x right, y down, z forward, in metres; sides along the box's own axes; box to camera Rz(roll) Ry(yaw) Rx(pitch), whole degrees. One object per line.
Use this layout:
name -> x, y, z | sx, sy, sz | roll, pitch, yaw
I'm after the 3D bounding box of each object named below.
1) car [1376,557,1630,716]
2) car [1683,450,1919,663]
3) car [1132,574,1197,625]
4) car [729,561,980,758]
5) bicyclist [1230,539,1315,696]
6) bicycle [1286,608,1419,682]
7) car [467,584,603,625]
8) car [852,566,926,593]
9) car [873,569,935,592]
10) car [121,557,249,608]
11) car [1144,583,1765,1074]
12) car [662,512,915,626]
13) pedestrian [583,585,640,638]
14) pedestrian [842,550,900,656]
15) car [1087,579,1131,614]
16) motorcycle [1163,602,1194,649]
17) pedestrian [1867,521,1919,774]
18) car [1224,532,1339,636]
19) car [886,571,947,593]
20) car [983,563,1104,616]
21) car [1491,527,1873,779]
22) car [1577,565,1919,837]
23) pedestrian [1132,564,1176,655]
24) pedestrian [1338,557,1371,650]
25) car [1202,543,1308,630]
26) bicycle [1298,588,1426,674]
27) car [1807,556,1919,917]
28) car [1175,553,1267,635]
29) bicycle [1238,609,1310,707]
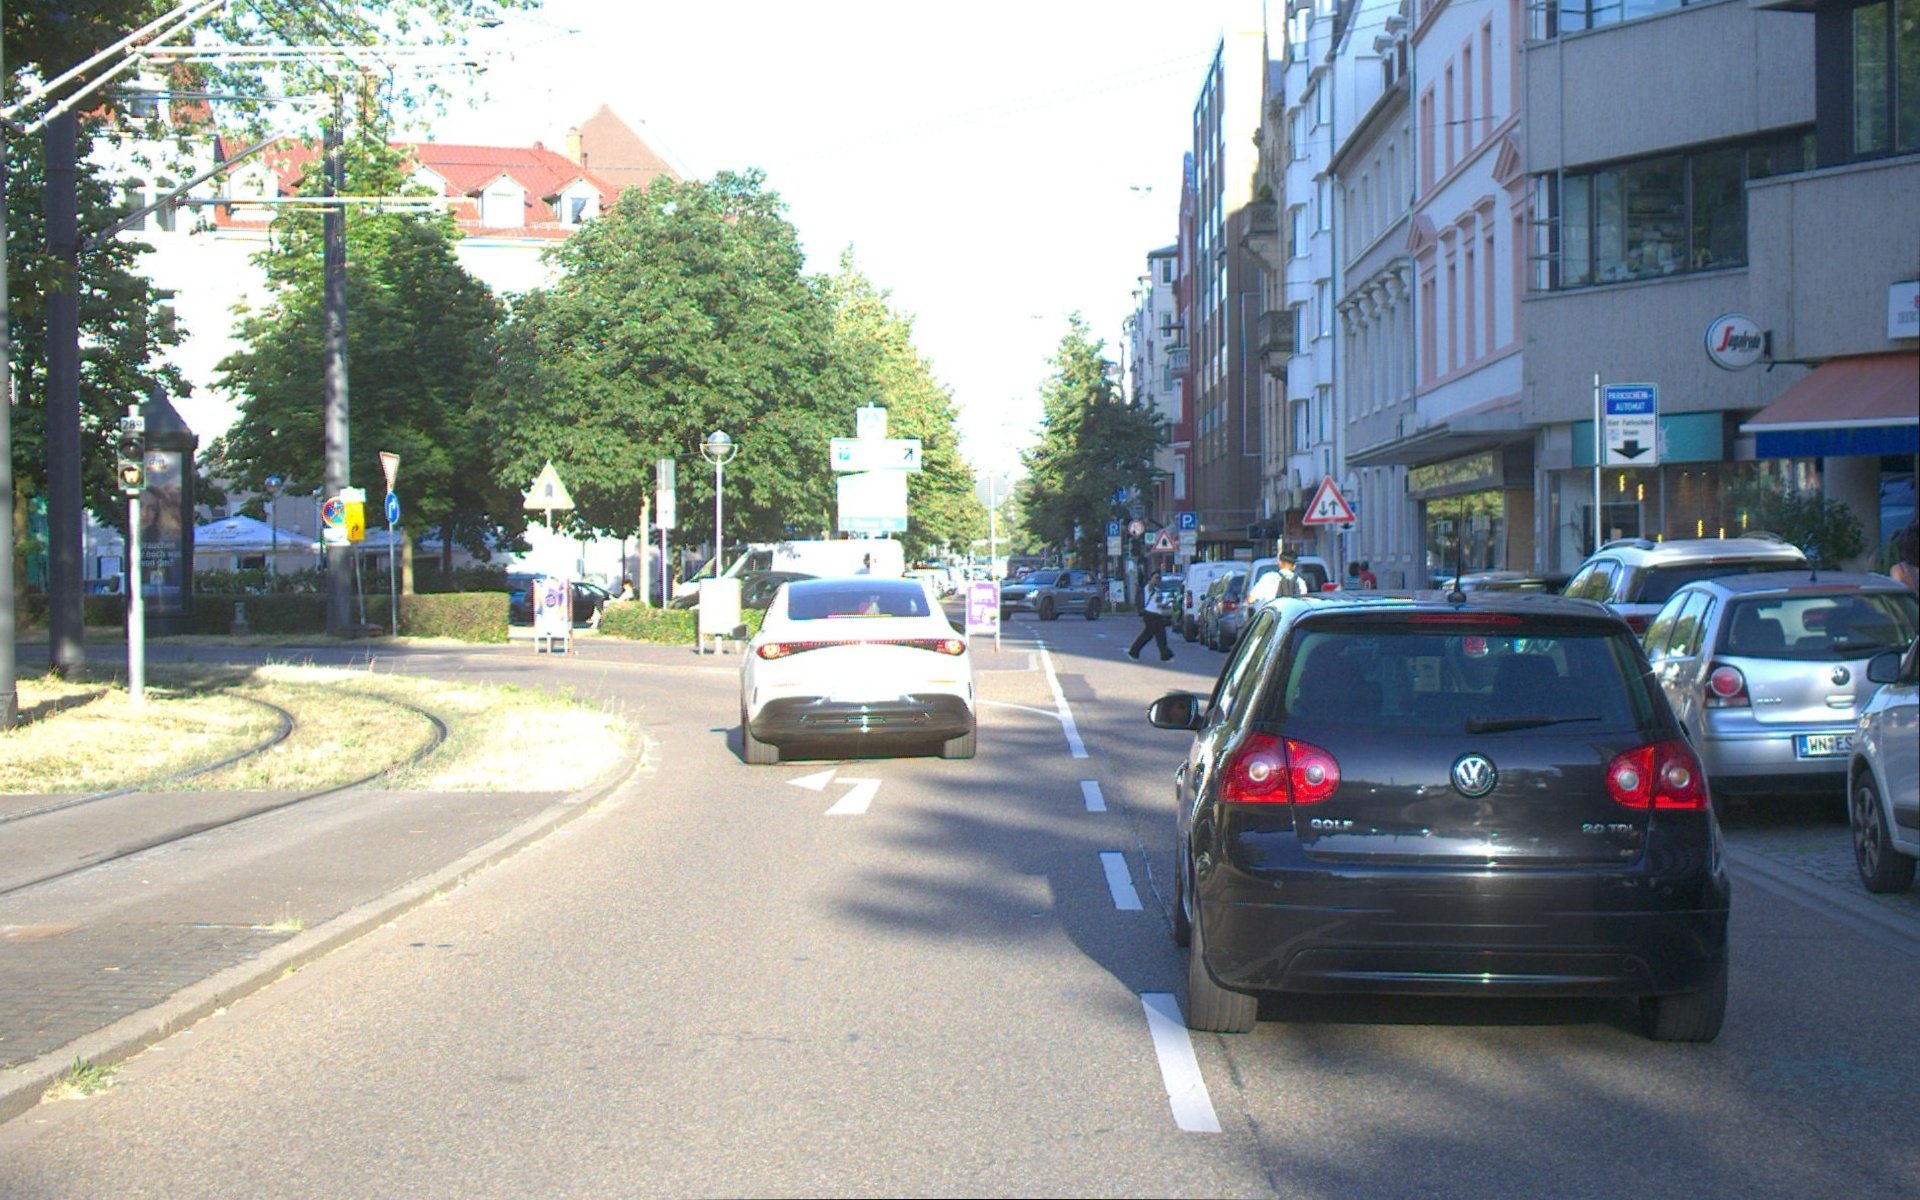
car -> 5.389, 0.327, 34.555 | 1.662, 1.436, 3.824 | -3, 1, -4
car -> 11.594, -0.556, 41.555 | 5.315, 2.434, 2.092 | -2, 0, -25
car -> 6.329, -0.026, 106.644 | 1.752, 1.505, 3.545 | -2, 0, -1
car -> -0.830, 0.467, 28.249 | 1.865, 1.436, 4.197 | -2, 0, -1
bicyclist -> 3.275, 0.176, 36.123 | 0.777, 1.613, 1.025 | 1, 0, 0
bicycle -> 5.841, 0.675, 51.163 | 1.850, 1.042, 0.580 | -2, 1, 31
car -> -13.594, 0.148, 110.029 | 3.986, 1.297, 1.853 | 0, 0, -22
car -> -3.520, -0.999, 170.552 | 3.377, 1.283, 1.673 | 1, 1, -14
car -> -3.289, -1.128, 201.735 | 3.377, 1.283, 1.673 | 1, 1, -14
car -> -23.789, -0.521, 105.547 | 3.612, 1.547, 1.662 | 0, 0, -22
car -> 1.607, 0.684, 12.491 | 1.747, 1.456, 4.103 | 0, 1, 1
car -> -4.012, -0.712, 80.448 | 5.510, 2.586, 2.155 | 0, 0, -25
pedestrian -> -8.220, 0.279, 81.096 | 1.097, 1.222, 0.860 | 1, 0, -25
pedestrian -> -1.449, 0.051, 56.077 | 0.859, 1.700, 0.941 | 1, 0, -5
car -> 6.658, -0.172, 154.326 | 1.752, 1.505, 3.545 | -2, 0, -1
motorcycle -> 5.698, 0.659, 89.862 | 0.486, 1.170, 1.607 | -3, 1, -6
pedestrian -> 6.818, 0.317, 24.284 | 0.578, 1.754, 0.662 | -3, 0, 2
car -> 5.858, -0.300, 62.969 | 1.734, 1.794, 3.916 | -2, 0, 1
car -> -2.657, -1.119, 209.461 | 3.377, 1.283, 1.673 | 1, 1, -14
car -> 2.879, -0.375, 118.416 | 1.999, 1.766, 3.990 | 1, 1, 44
car -> 5.478, 0.351, 26.674 | 1.867, 1.708, 4.505 | -3, 1, -1
car -> 4.930, 0.547, 21.078 | 1.662, 1.436, 3.855 | -2, 1, 2
pedestrian -> 3.333, 0.160, 59.192 | 0.736, 1.549, 0.632 | 0, 0, 1
pedestrian -> 6.936, 0.058, 60.482 | 0.502, 1.619, 0.496 | 1, 0, 1
car -> 5.782, -0.272, 67.775 | 1.734, 1.611, 3.916 | -2, 0, 1
bicycle -> 5.493, 0.422, 47.005 | 1.605, 1.115, 0.611 | -2, 1, 34
car -> 4.956, 0.571, 14.868 | 1.607, 1.551, 3.610 | -2, 1, 0
car -> 6.088, -0.156, 80.670 | 1.925, 1.835, 4.017 | -2, 0, 2
bicycle -> 3.293, 0.596, 36.162 | 0.579, 0.984, 1.935 | 1, 0, 0
